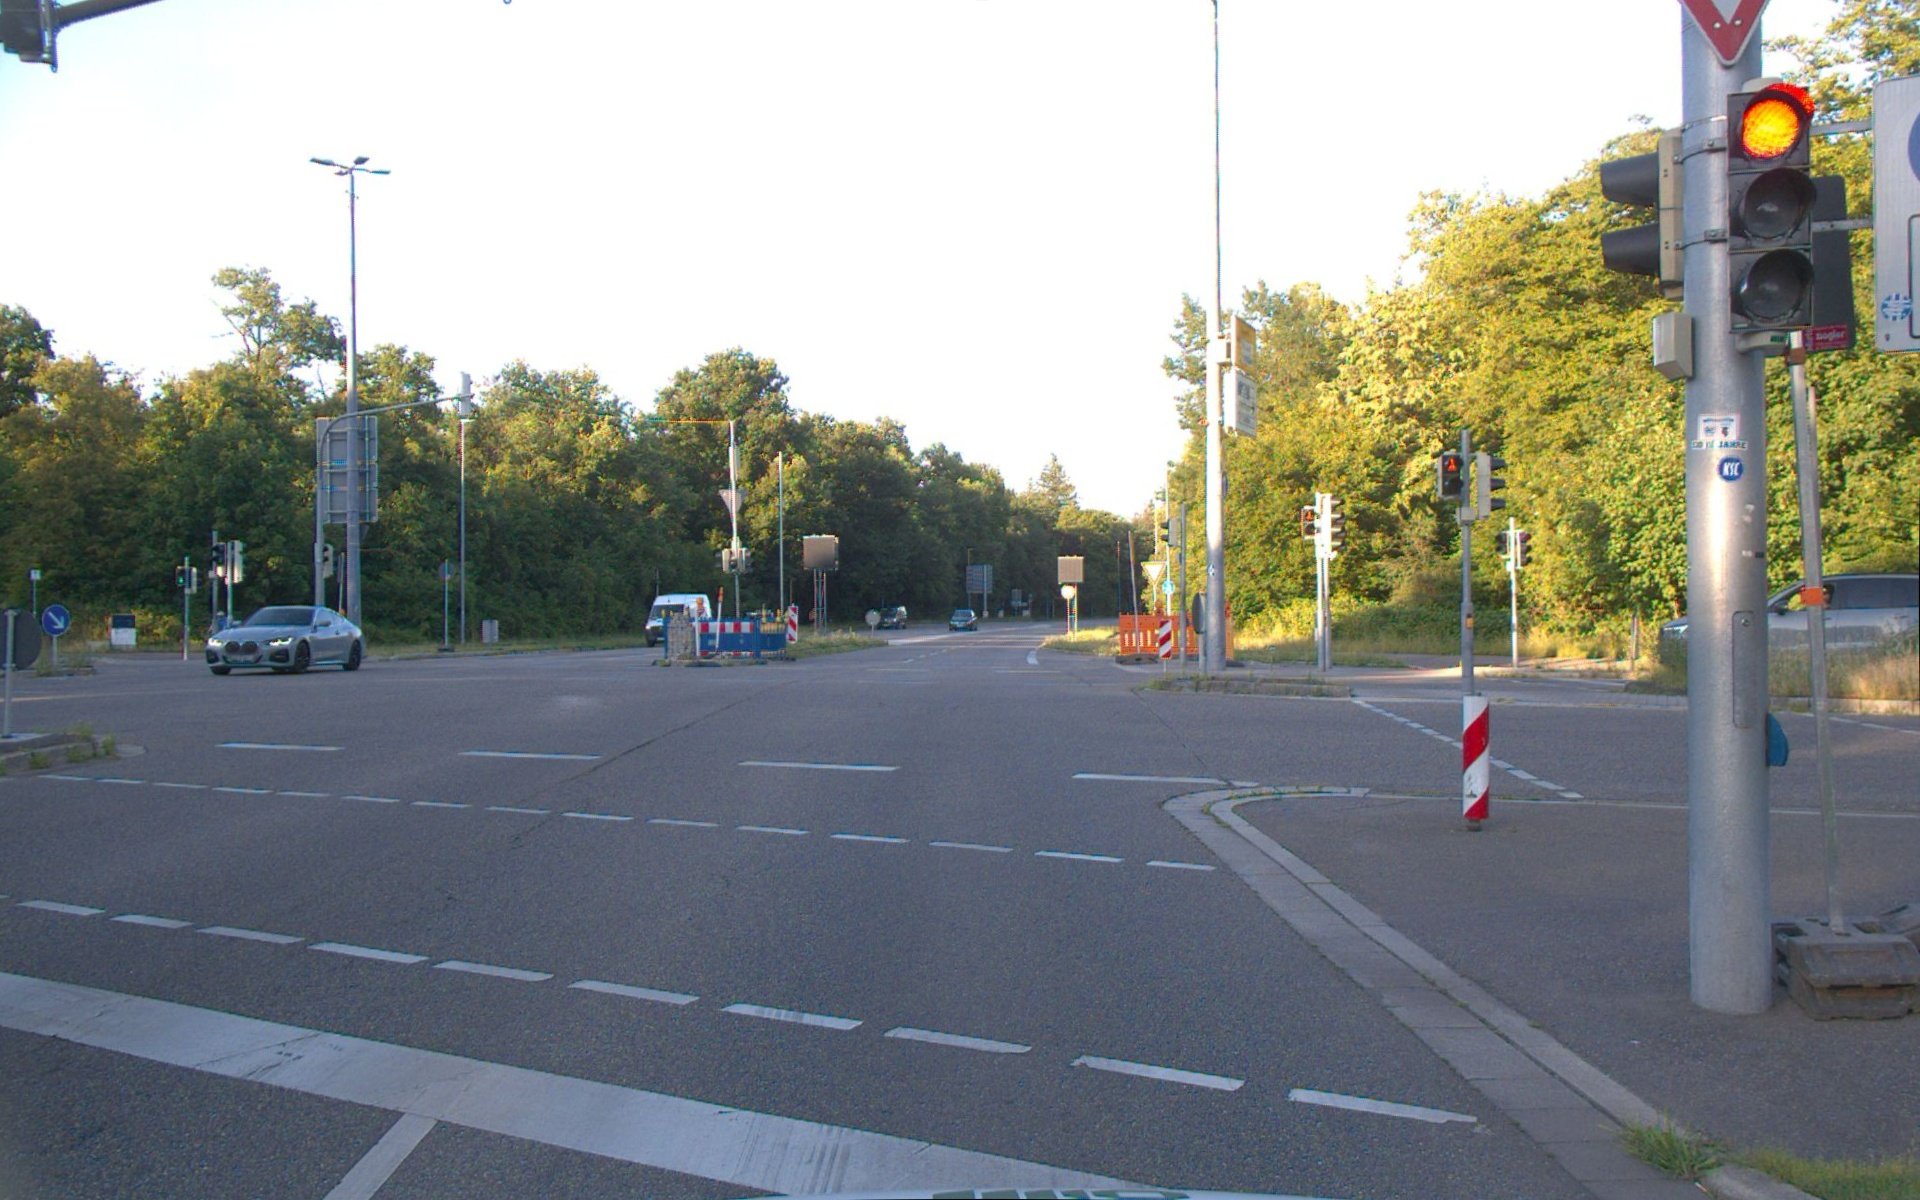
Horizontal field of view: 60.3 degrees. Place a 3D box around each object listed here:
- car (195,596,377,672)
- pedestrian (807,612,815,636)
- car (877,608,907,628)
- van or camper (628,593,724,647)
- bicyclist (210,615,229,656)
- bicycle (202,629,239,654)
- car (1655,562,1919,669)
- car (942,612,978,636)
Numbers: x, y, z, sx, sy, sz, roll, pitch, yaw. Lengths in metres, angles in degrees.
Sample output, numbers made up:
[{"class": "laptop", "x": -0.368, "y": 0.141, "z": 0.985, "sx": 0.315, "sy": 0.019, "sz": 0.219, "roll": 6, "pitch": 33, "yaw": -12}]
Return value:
[{"class": "car", "x": -14.084, "y": 0.671, "z": 34.851, "sx": 1.852, "sy": 1.466, "sz": 4.501, "roll": 0, "pitch": 0, "yaw": 2}, {"class": "pedestrian", "x": -12.521, "y": 2.006, "z": 138.918, "sx": 0.511, "sy": 2.049, "sz": 0.600, "roll": 1, "pitch": -1, "yaw": -1}, {"class": "car", "x": -5.902, "y": 1.540, "z": 143.168, "sx": 1.951, "sy": 1.668, "sz": 4.003, "roll": 0, "pitch": 0, "yaw": 7}, {"class": "van or camper", "x": -14.631, "y": 1.000, "z": 85.767, "sx": 2.824, "sy": 2.699, "sz": 7.127, "roll": 0, "pitch": 0, "yaw": 8}, {"class": "bicyclist", "x": -25.516, "y": 1.209, "z": 56.992, "sx": 0.515, "sy": 1.411, "sz": 0.401, "roll": 0, "pitch": 0, "yaw": -42}, {"class": "bicycle", "x": -25.481, "y": 1.429, "z": 57.012, "sx": 1.096, "sy": 0.840, "sz": 0.407, "roll": 0, "pitch": 0, "yaw": -42}, {"class": "car", "x": 13.747, "y": 0.243, "z": 26.489, "sx": 4.716, "sy": 1.626, "sz": 2.000, "roll": -1, "pitch": 0, "yaw": 21}, {"class": "car", "x": 0.012, "y": 1.820, "z": 125.050, "sx": 1.951, "sy": 1.668, "sz": 4.004, "roll": -2, "pitch": 1, "yaw": 11}]
